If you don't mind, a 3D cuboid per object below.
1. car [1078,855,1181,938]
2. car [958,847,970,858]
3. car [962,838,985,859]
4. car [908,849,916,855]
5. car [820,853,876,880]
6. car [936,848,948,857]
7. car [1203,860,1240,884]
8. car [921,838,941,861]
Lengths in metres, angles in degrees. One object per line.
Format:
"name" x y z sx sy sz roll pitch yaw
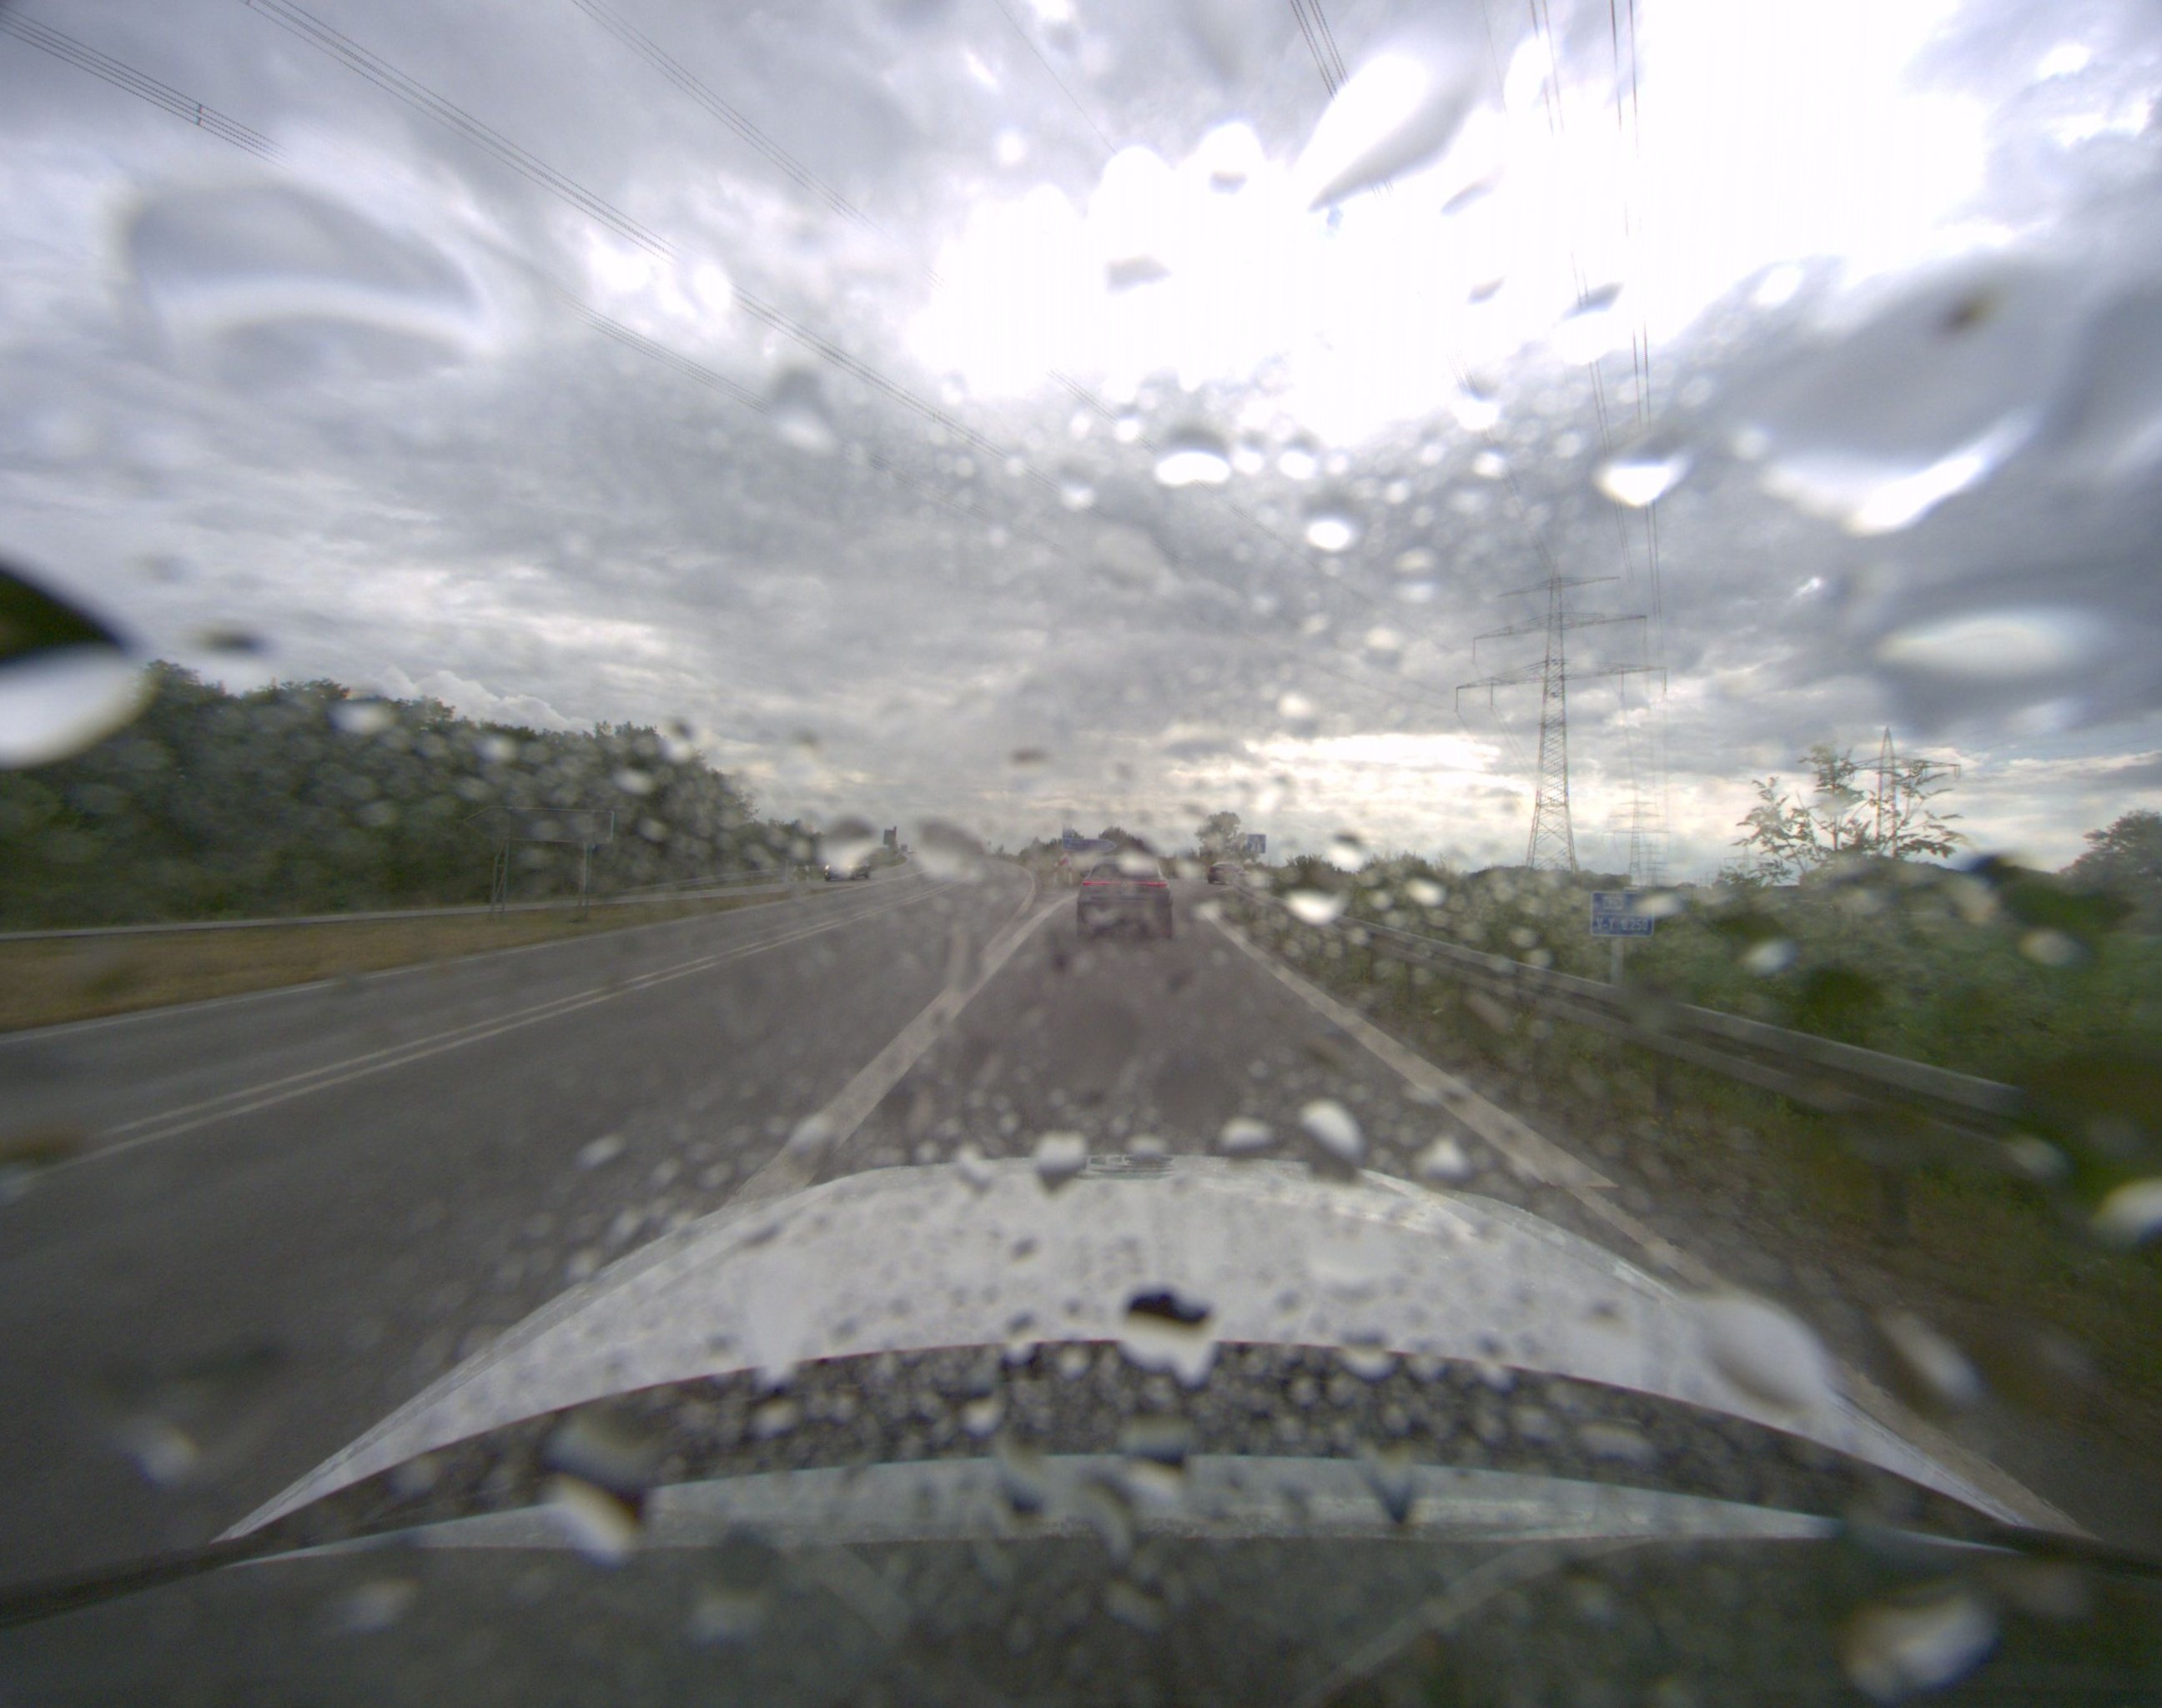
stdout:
"car" 0.928 0.783 16.249 1.784 1.441 4.001 0 -1 2
"car" -19.368 -0.180 134.792 1.792 1.688 3.985 1 -2 -11
"car" -15.495 -0.691 117.035 2.575 2.726 7.165 3 -2 -12
"car" -37.603 -0.458 180.715 1.654 1.447 3.372 2 0 -13
"car" -13.321 0.750 46.793 1.737 1.365 4.053 -4 -1 3
"car" -22.507 -0.157 131.549 1.745 1.365 4.033 2 -1 -12
"car" 9.212 1.183 53.311 1.777 1.441 4.018 0 -3 19
"car" -19.198 -0.604 104.511 2.352 2.700 6.970 2 2 -10
